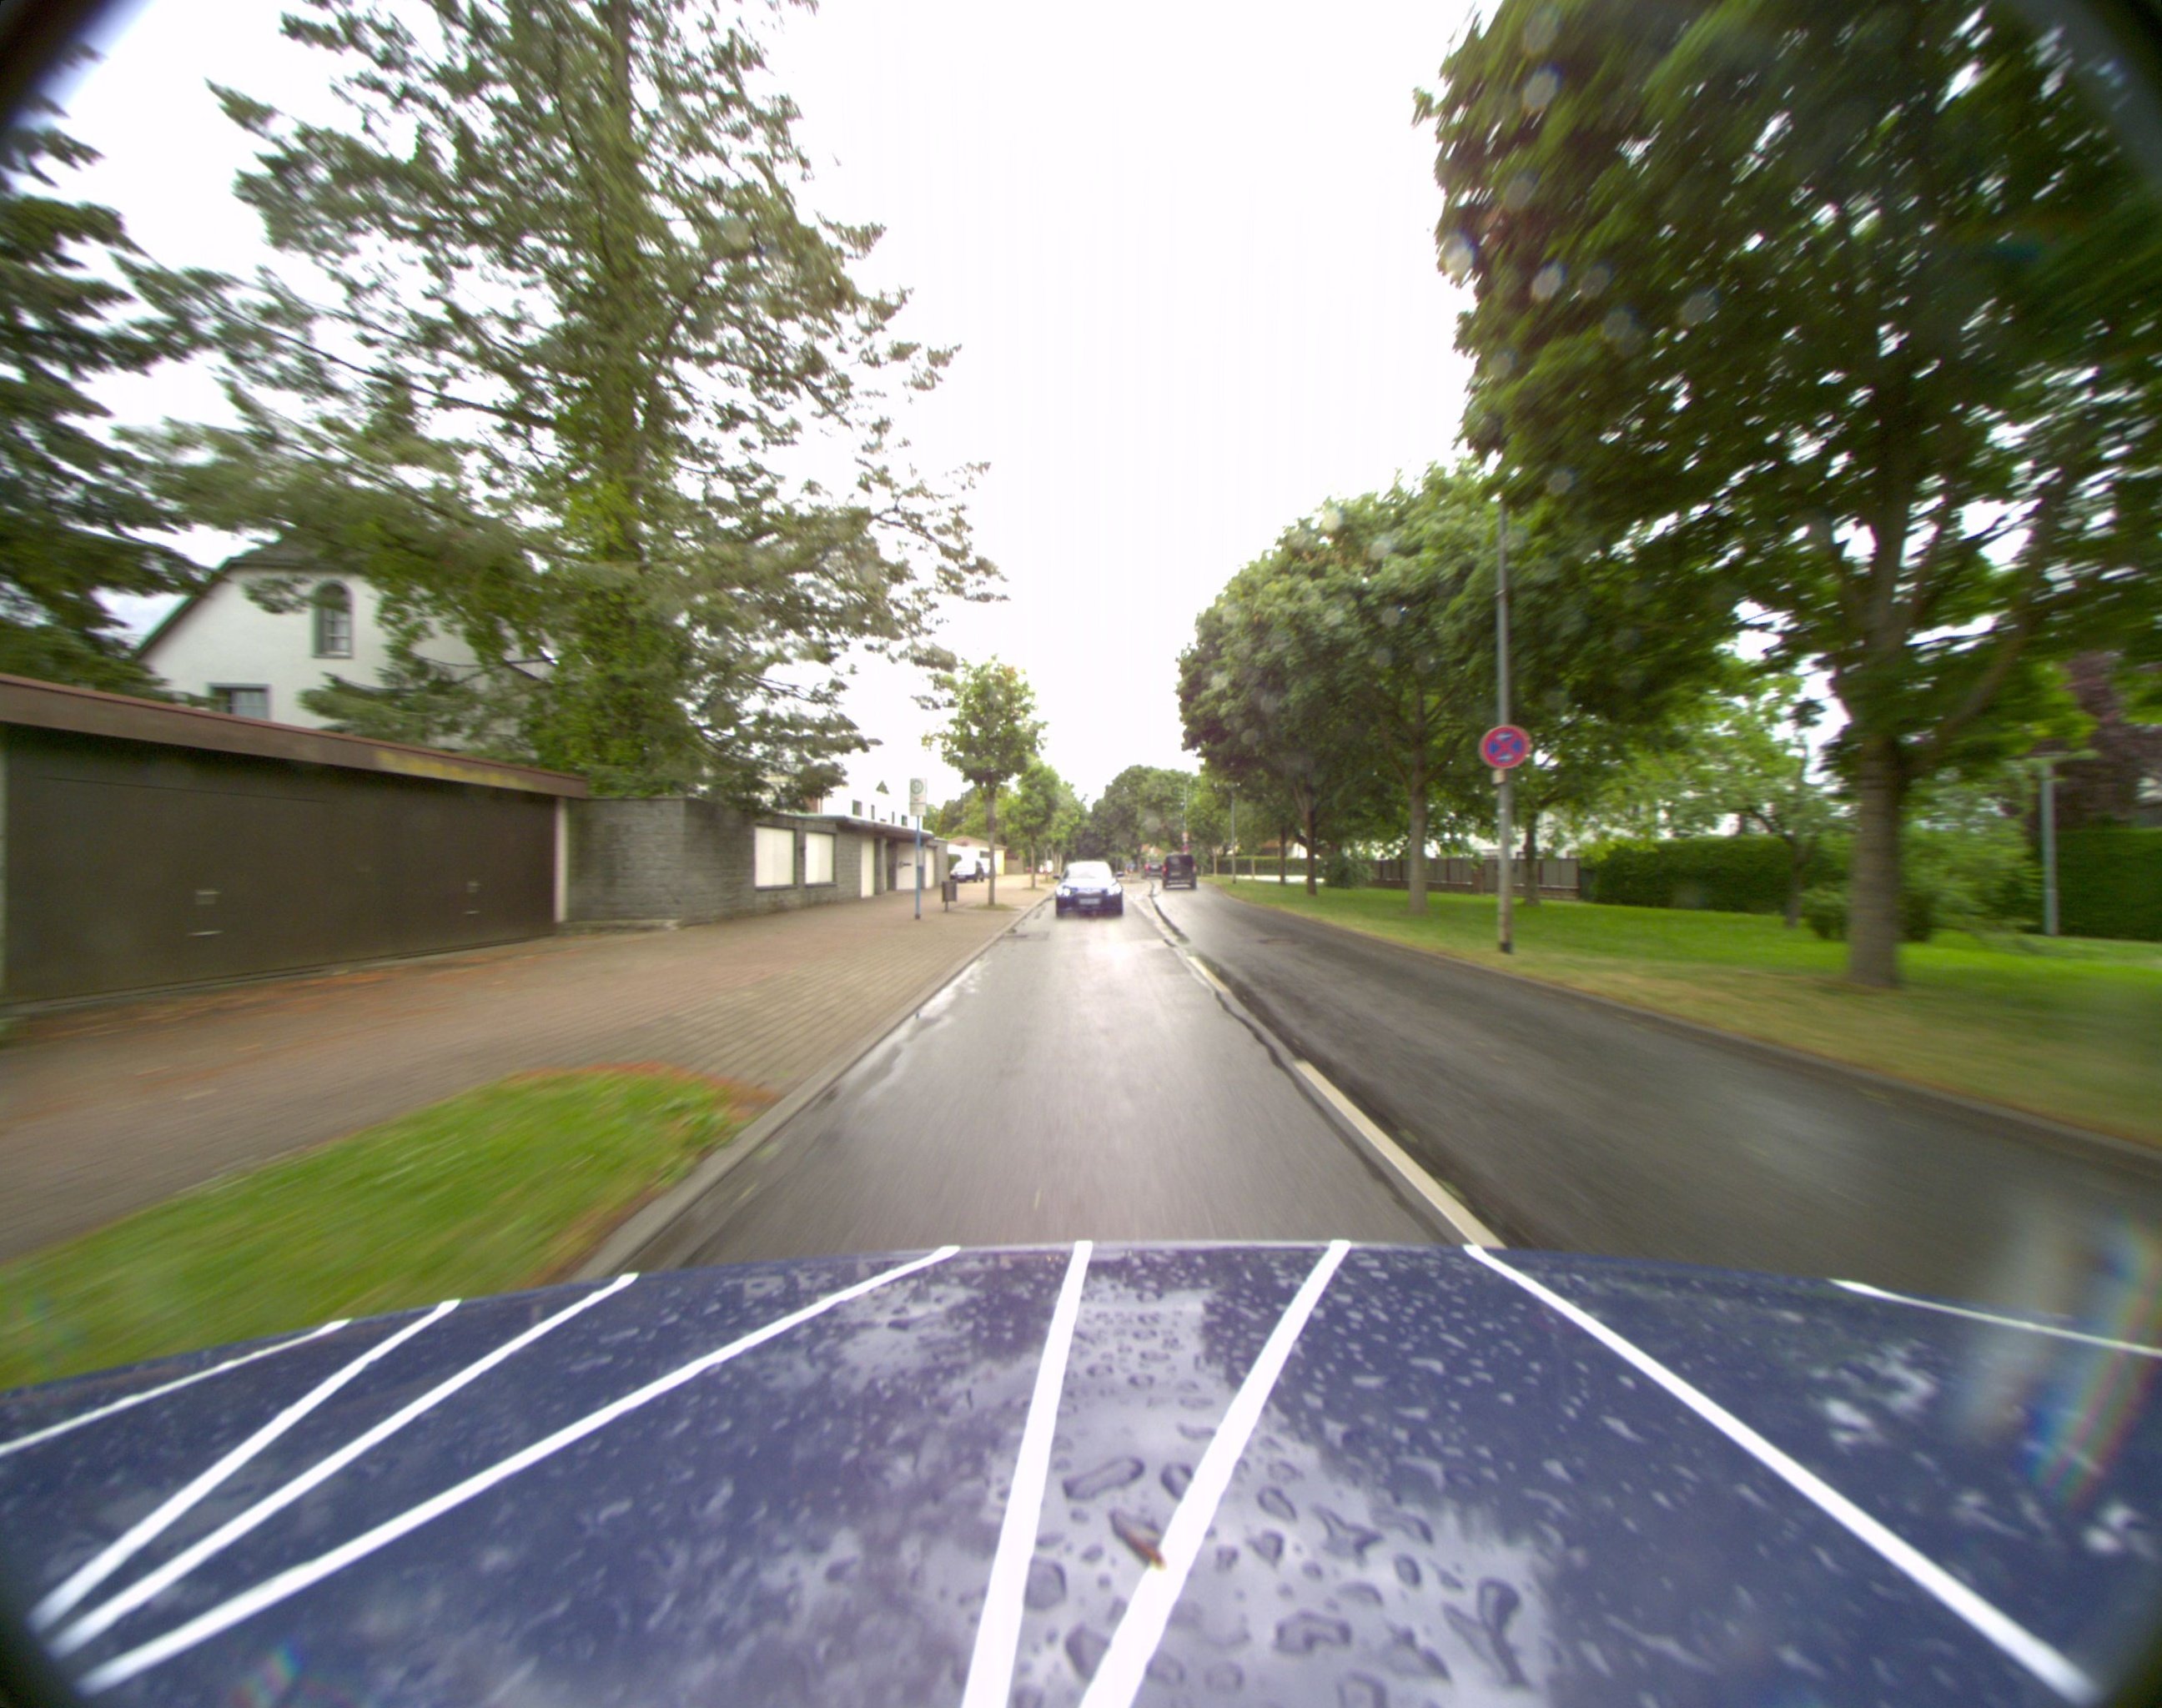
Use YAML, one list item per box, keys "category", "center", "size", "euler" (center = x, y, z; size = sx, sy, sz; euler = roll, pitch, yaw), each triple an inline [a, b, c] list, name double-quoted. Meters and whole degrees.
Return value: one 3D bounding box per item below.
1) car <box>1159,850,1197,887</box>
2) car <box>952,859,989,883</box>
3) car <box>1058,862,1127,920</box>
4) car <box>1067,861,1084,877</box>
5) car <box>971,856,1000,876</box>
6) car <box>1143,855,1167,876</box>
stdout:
- category: "car"
  center: [5.000, 0.705, 39.441]
  size: [1.780, 1.763, 4.287]
  euler: [-1, 0, 5]
- category: "car"
  center: [-7.129, 1.051, 49.485]
  size: [1.666, 1.413, 4.000]
  euler: [-2, 0, 1]
- category: "car"
  center: [0.352, 0.983, 21.964]
  size: [1.815, 1.459, 3.975]
  euler: [-1, 0, 1]
- category: "car"
  center: [-0.768, 1.982, 103.006]
  size: [1.999, 2.002, 3.997]
  euler: [-2, 1, -6]
- category: "car"
  center: [-7.824, 0.963, 62.495]
  size: [1.699, 1.553, 4.000]
  euler: [-2, 1, 1]
- category: "car"
  center: [6.098, 0.932, 62.955]
  size: [1.713, 1.588, 4.172]
  euler: [-1, 0, 2]
